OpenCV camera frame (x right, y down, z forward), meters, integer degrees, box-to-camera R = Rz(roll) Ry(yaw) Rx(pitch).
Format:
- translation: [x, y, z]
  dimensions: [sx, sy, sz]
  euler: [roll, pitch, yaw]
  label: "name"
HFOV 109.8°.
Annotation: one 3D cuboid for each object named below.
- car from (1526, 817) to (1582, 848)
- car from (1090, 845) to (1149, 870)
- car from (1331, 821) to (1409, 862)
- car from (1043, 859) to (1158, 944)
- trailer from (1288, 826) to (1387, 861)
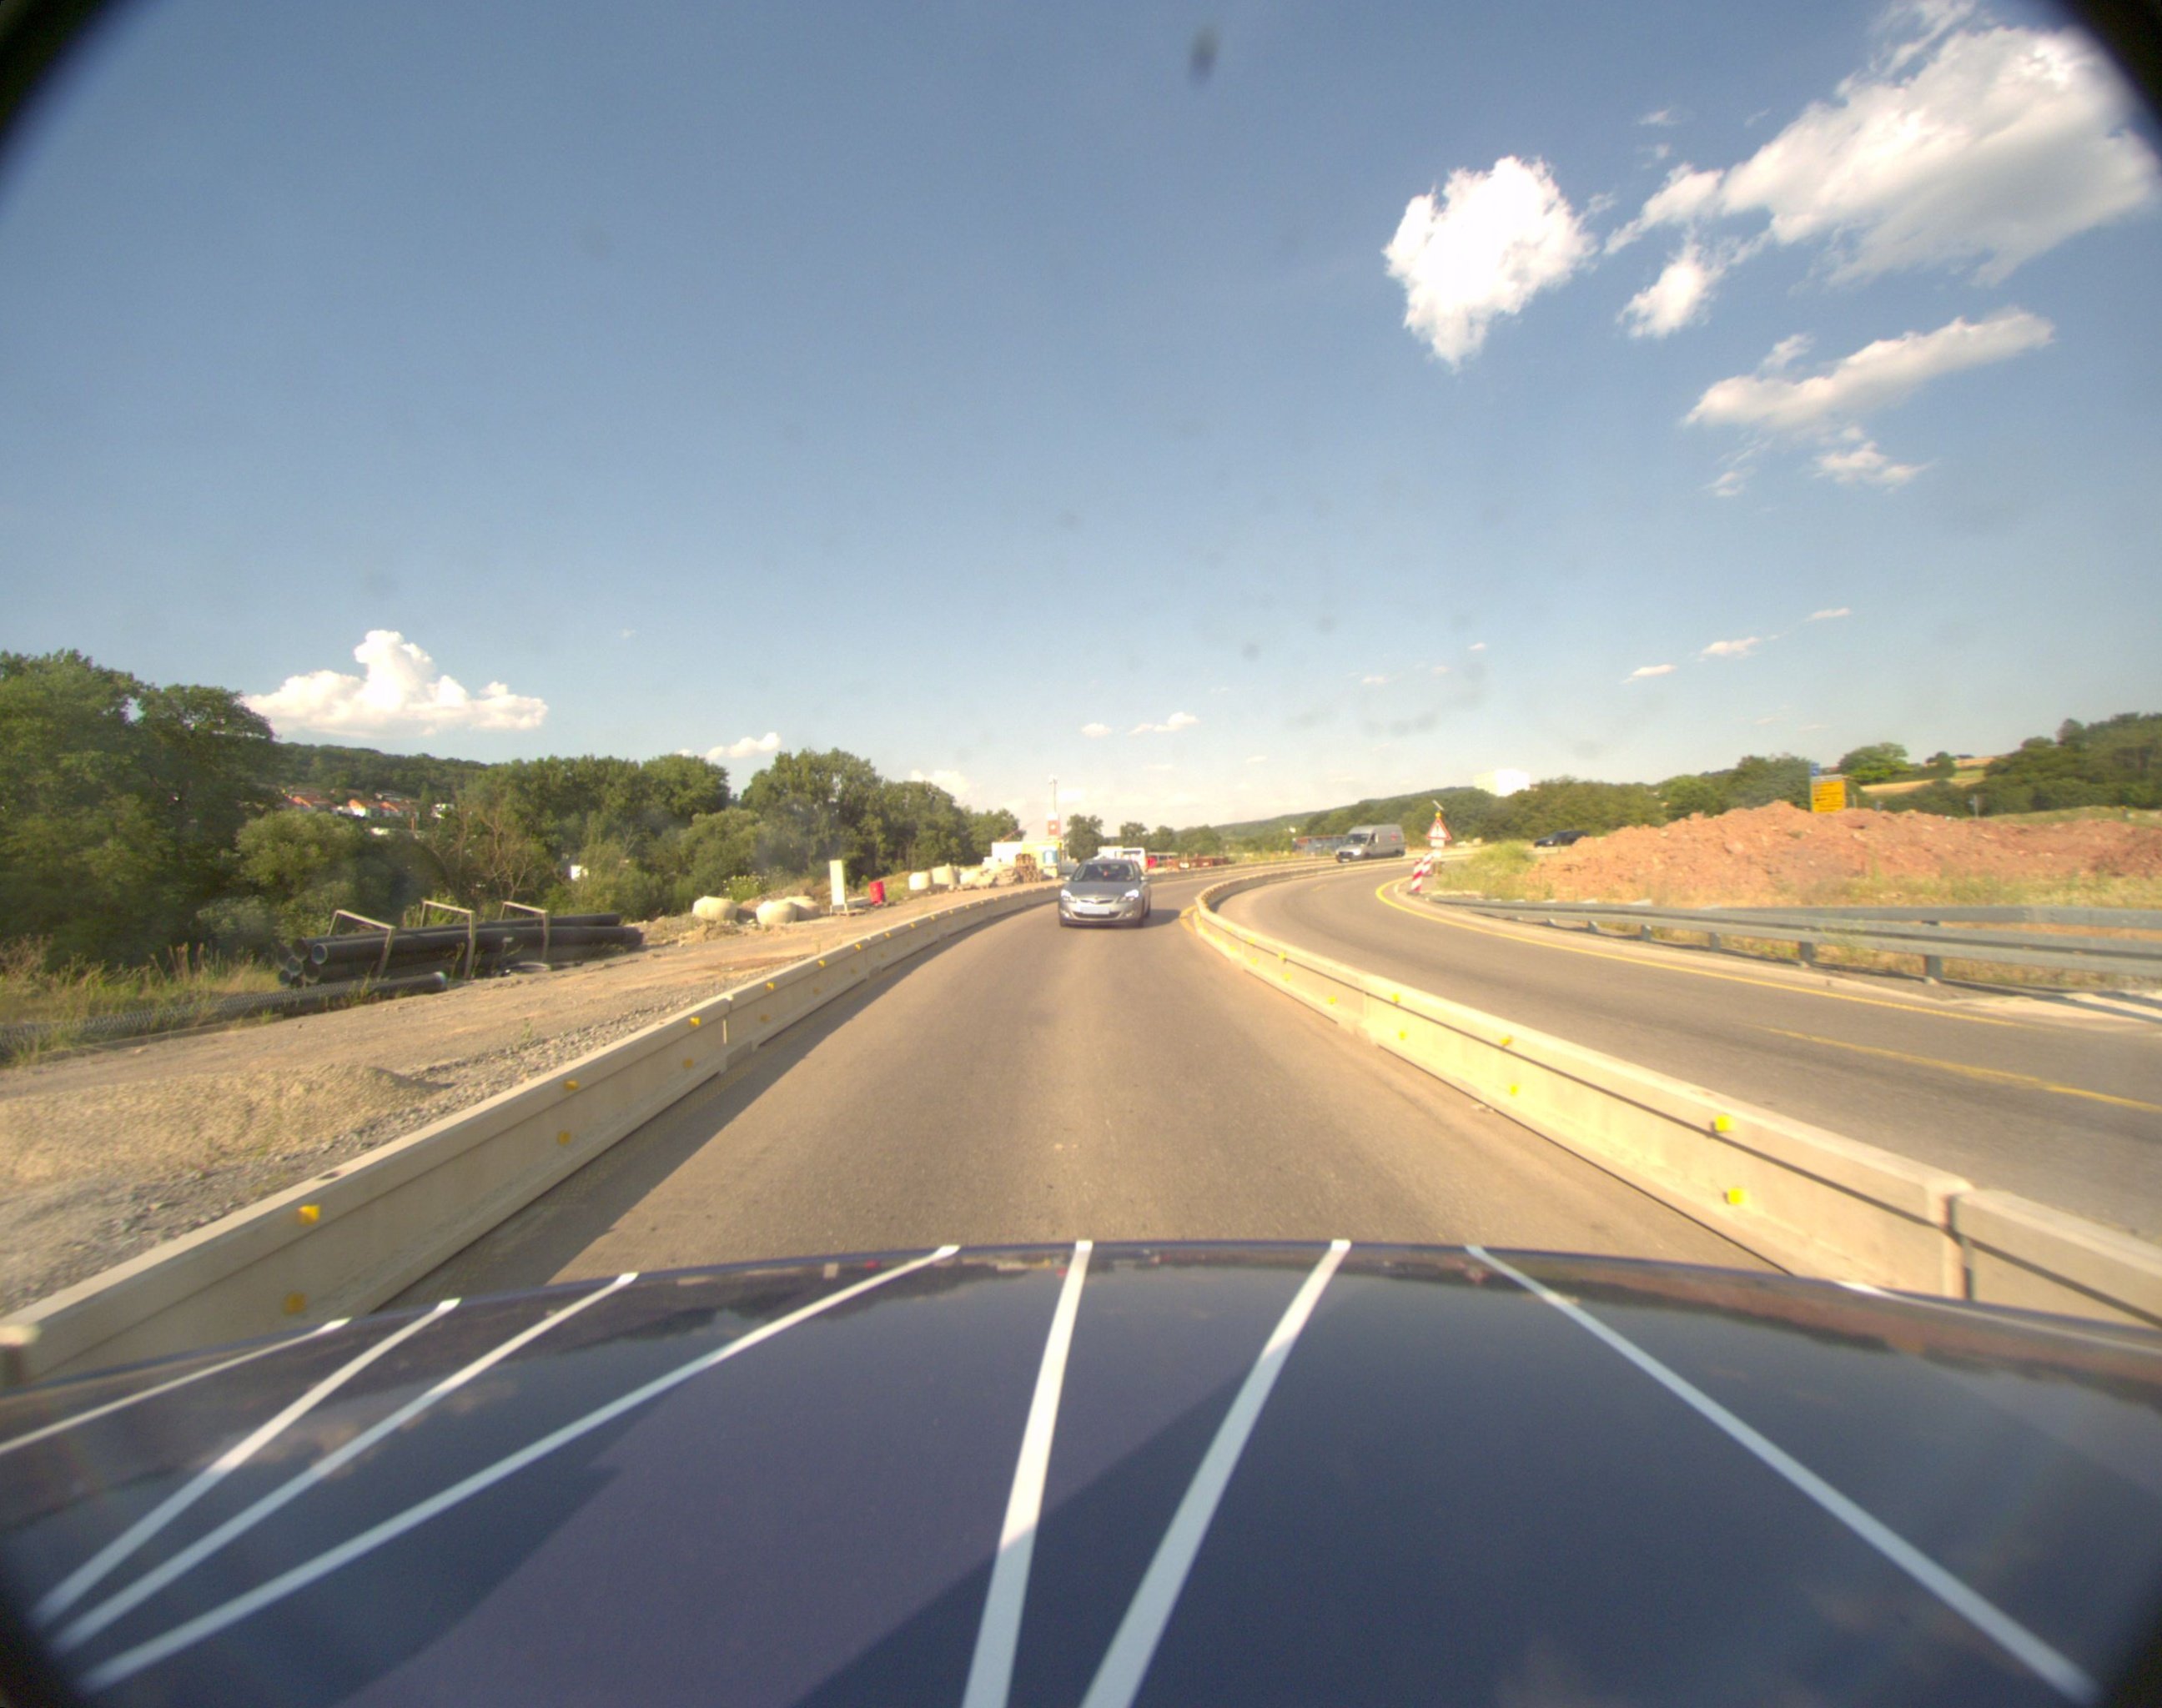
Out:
- translation: [38.768, -1.764, 62.275]
  dimensions: [4.004, 2.389, 1.873]
  euler: [-3, 1, -25]
  label: "car"
- translation: [3.596, 0.332, 71.772]
  dimensions: [5.316, 2.067, 2.487]
  euler: [-3, 1, 0]
  label: "car"
- translation: [19.317, -0.842, 50.691]
  dimensions: [5.807, 2.486, 1.913]
  euler: [-3, 1, -36]
  label: "car"
- translation: [0.565, 0.886, 16.016]
  dimensions: [1.746, 1.476, 4.255]
  euler: [-1, 1, 11]
  label: "car"
- translation: [20.729, -0.872, 61.507]
  dimensions: [7.234, 2.400, 3.009]
  euler: [-3, 0, -20]
  label: "trailer"
